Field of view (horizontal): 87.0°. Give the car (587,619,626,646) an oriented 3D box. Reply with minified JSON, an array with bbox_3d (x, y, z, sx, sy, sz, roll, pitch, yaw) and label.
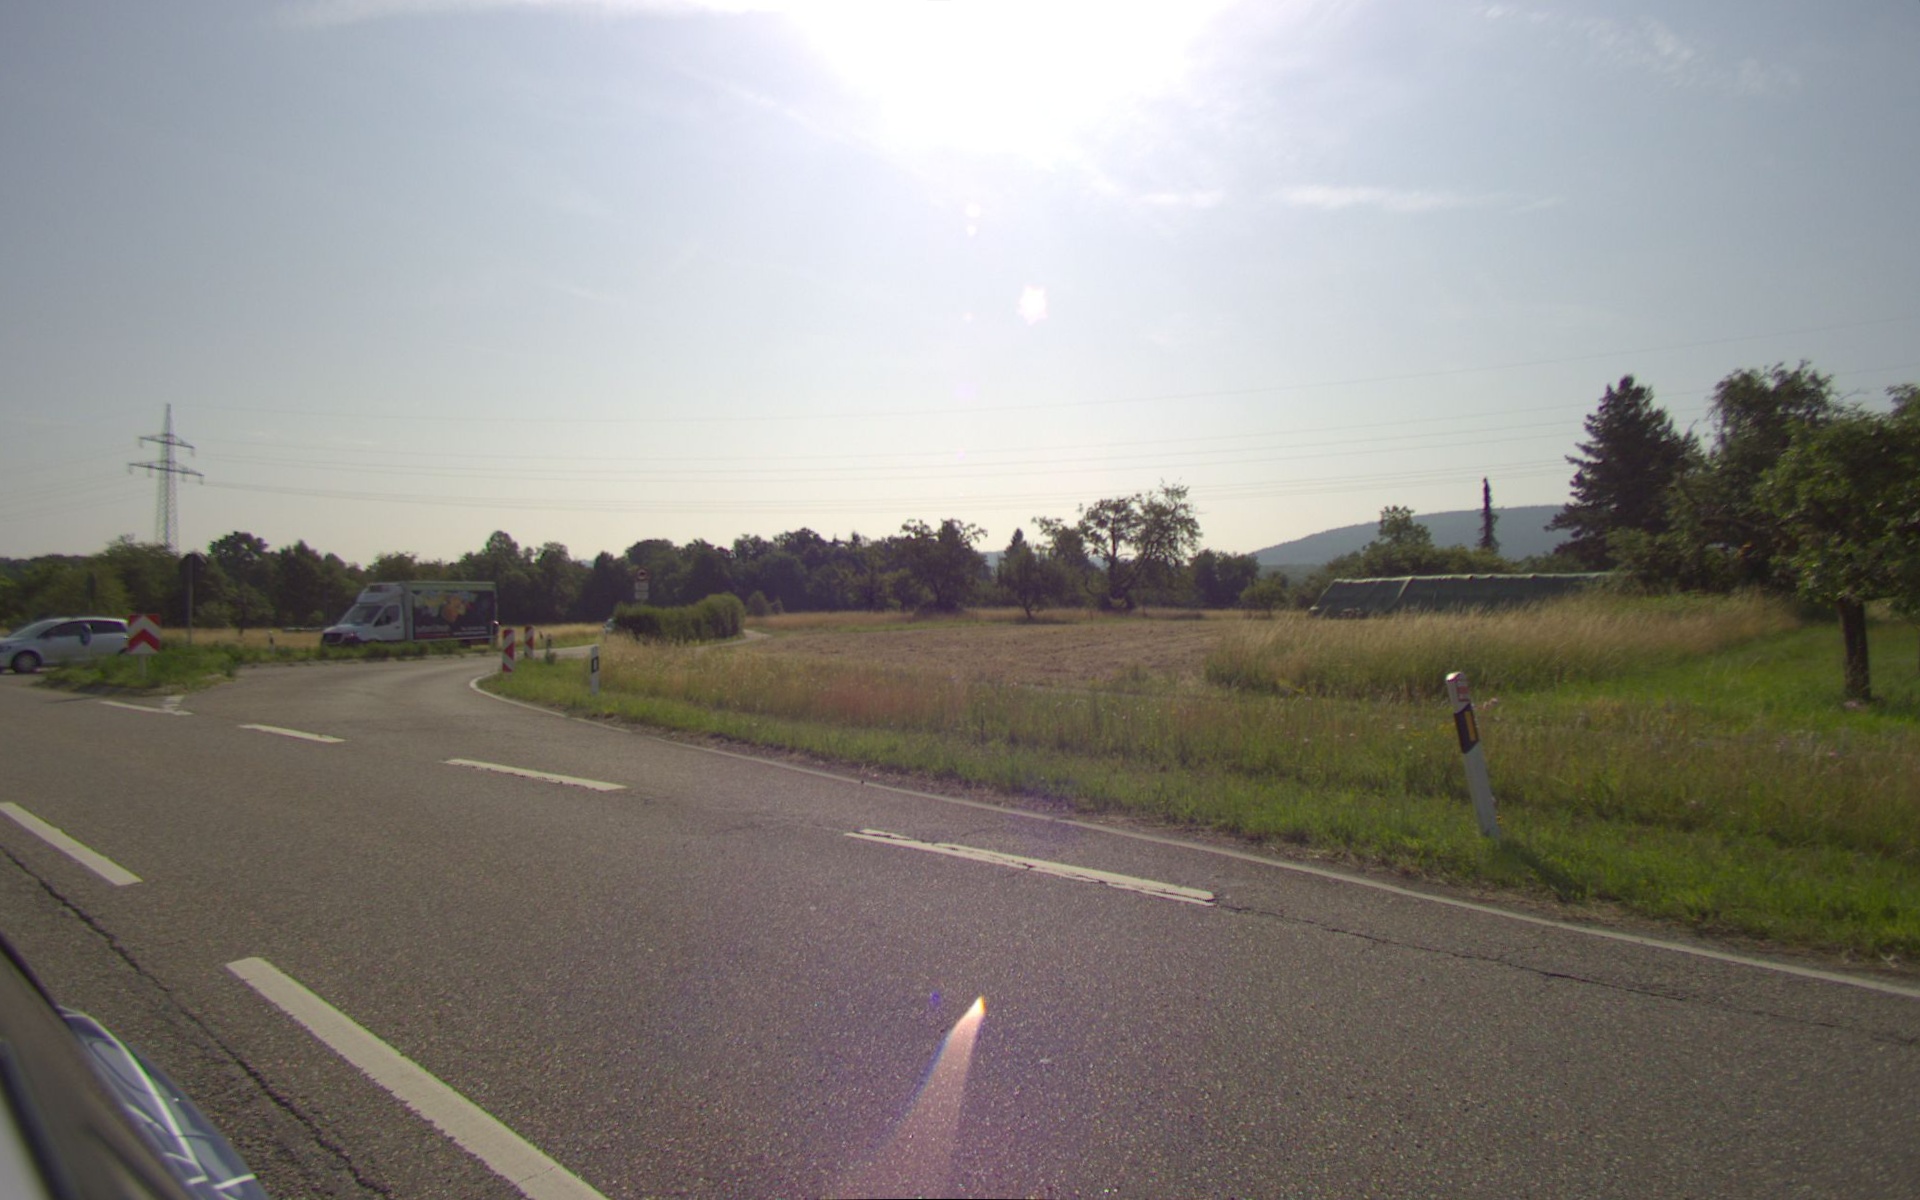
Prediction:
[{"bbox_3d":[-22.519,2.019,64.600,1.788,1.563,4.009,-1,0,-11],"label":"car"}]

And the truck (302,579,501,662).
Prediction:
[{"bbox_3d":[-22.482,0.797,41.284,2.564,3.068,7.319,-2,-1,19],"label":"truck"}]

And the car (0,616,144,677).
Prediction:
[{"bbox_3d":[-26.584,1.325,29.511,1.987,1.592,3.879,-2,0,23],"label":"car"}]
